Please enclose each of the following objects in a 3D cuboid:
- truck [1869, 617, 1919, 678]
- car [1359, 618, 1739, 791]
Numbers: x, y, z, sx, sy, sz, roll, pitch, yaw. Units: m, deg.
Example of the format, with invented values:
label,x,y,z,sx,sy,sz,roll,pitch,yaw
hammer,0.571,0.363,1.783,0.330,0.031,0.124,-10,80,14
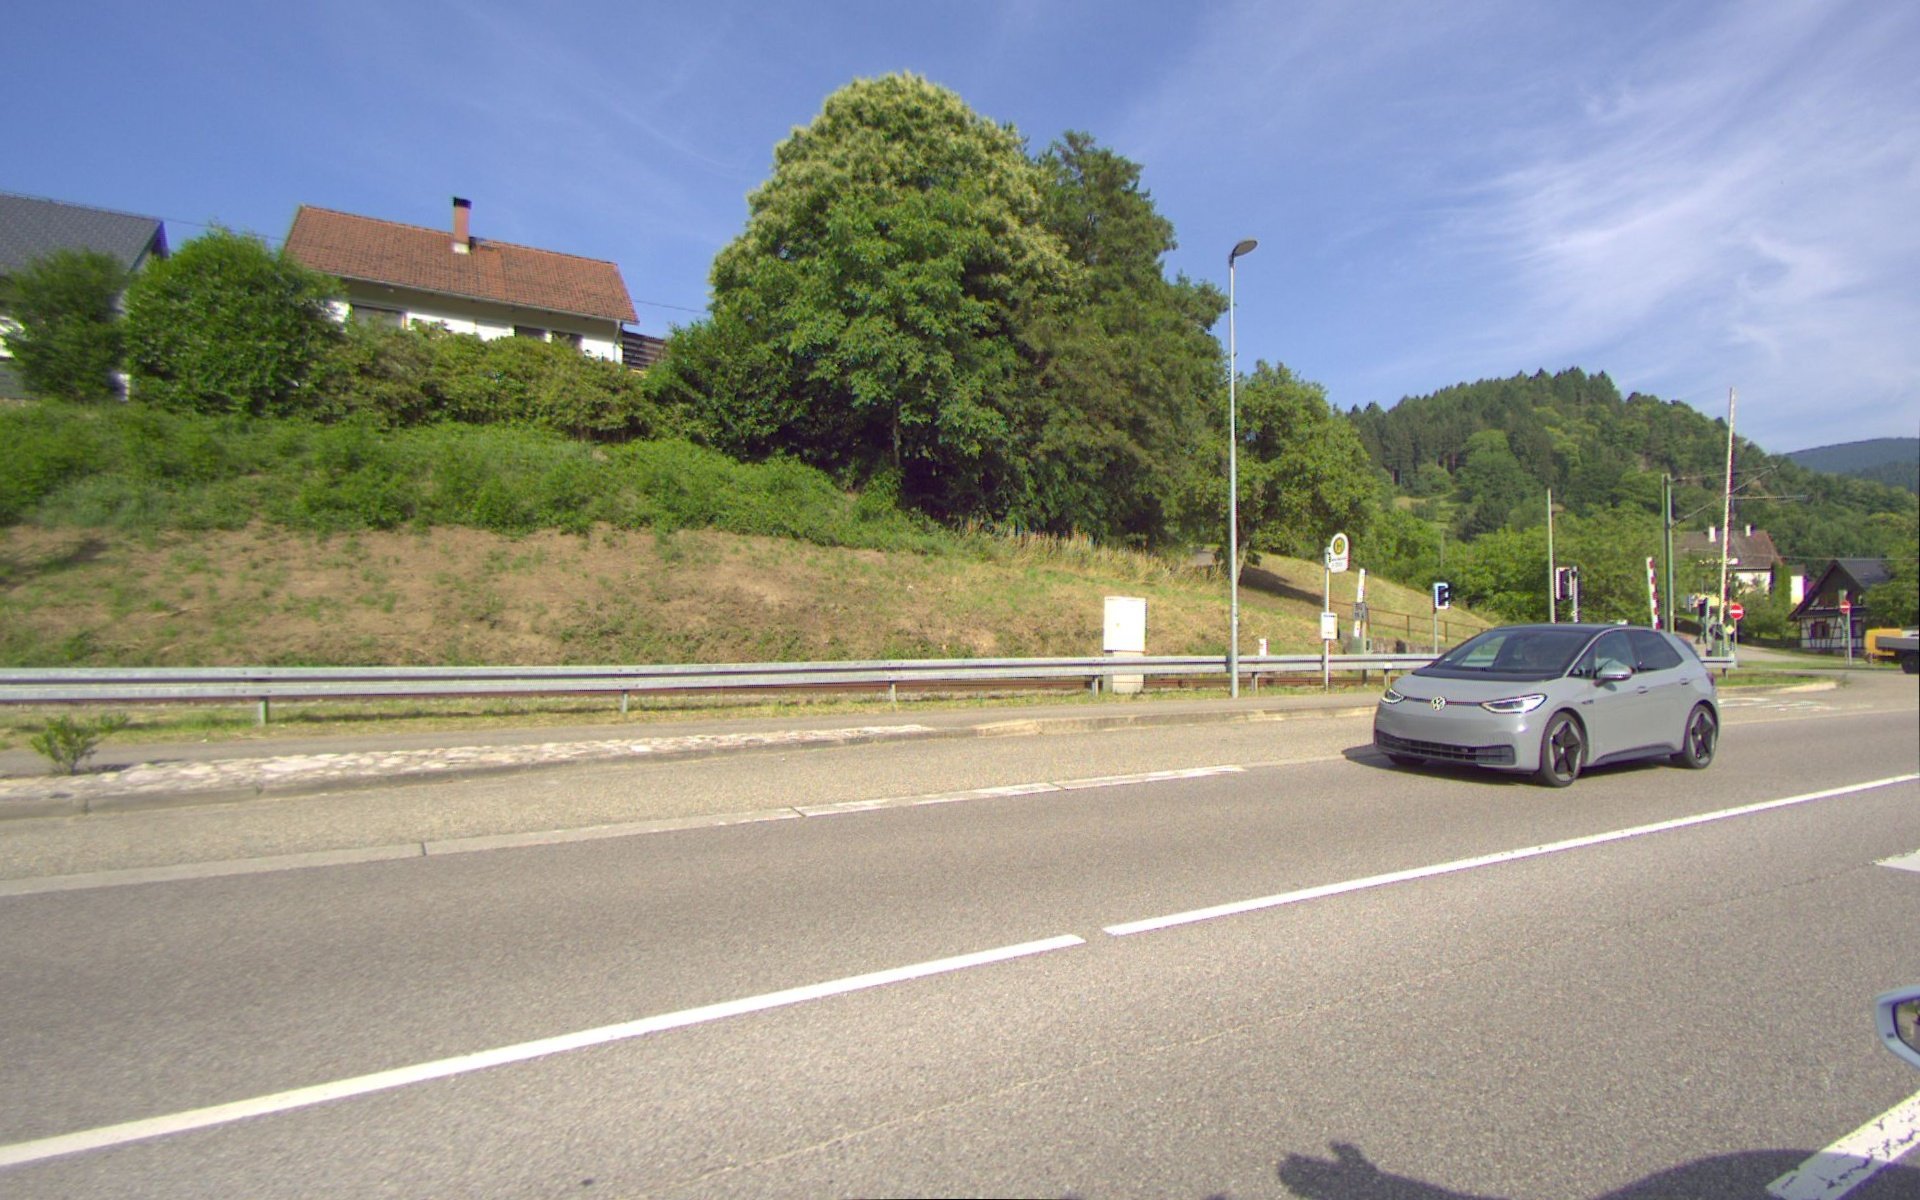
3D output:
label,x,y,z,sx,sy,sz,roll,pitch,yaw
truck,37.372,1.800,37.407,1.960,2.296,6.006,1,-1,5
car,6.397,1.004,10.808,4.155,1.541,1.750,2,-1,-30
